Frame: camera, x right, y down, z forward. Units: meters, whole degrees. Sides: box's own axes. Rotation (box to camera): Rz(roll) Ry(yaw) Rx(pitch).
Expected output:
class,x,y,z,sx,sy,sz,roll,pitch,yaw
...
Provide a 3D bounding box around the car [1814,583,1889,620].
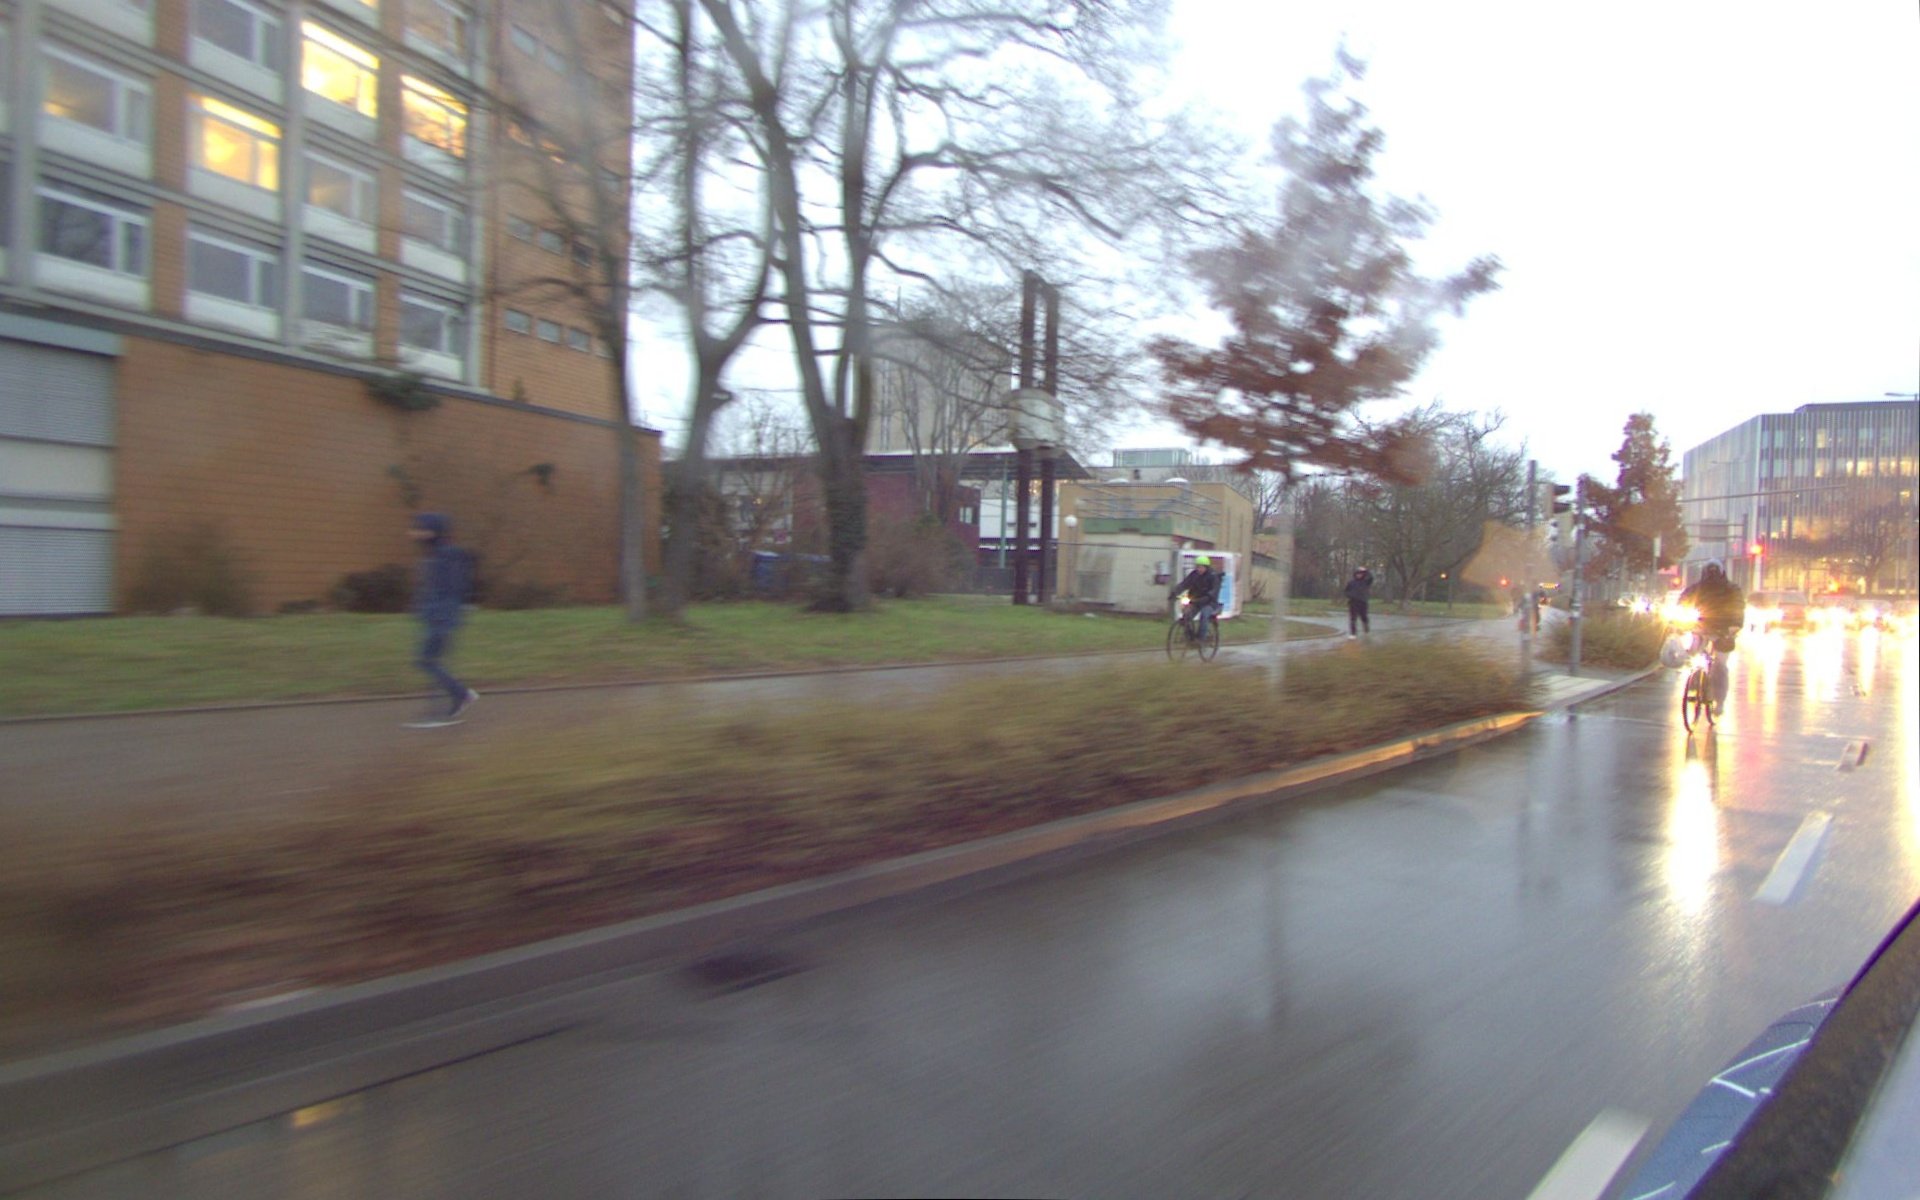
class,x,y,z,sx,sy,sz,roll,pitch,yaw
car,48.353,0.029,54.976,1.983,1.770,4.426,6,4,28

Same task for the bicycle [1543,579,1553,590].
class,x,y,z,sx,sy,sz,roll,pitch,yaw
bicycle,57.443,-1.551,98.844,0.788,1.028,2.873,2,2,29

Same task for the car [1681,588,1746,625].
class,x,y,z,sx,sy,sz,roll,pitch,yaw
car,34.953,0.258,47.069,1.759,1.505,4.426,3,2,29

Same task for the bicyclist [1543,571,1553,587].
class,x,y,z,sx,sy,sz,roll,pitch,yaw
bicyclist,57.477,-2.054,98.867,0.761,1.508,0.984,2,2,29

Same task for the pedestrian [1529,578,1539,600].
class,x,y,z,sx,sy,sz,roll,pitch,yaw
pedestrian,53.722,-1.068,94.689,0.759,2.038,0.766,2,2,28

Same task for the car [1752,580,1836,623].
class,x,y,z,sx,sy,sz,roll,pitch,yaw
car,37.811,0.017,46.004,1.983,1.771,4.896,3,2,29

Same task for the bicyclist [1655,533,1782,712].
class,x,y,z,sx,sy,sz,roll,pitch,yaw
bicyclist,8.671,0.233,11.559,1.024,1.907,1.216,0,0,44

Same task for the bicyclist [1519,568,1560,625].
class,x,y,z,sx,sy,sz,roll,pitch,yaw
bicyclist,17.575,-0.123,30.670,0.803,1.637,1.071,6,4,38

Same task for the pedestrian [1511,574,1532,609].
class,x,y,z,sx,sy,sz,roll,pitch,yaw
pedestrian,29.955,-0.461,53.989,0.925,1.848,0.826,3,2,29

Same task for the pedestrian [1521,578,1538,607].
class,x,y,z,sx,sy,sz,roll,pitch,yaw
pedestrian,37.540,-0.510,66.698,0.925,1.848,0.826,3,2,29

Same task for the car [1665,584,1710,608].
class,x,y,z,sx,sy,sz,roll,pitch,yaw
car,52.782,-0.317,73.502,1.983,1.586,4.714,4,3,29

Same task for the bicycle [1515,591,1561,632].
class,x,y,z,sx,sy,sz,roll,pitch,yaw
bicycle,17.513,0.328,30.630,0.803,1.155,2.183,6,4,38

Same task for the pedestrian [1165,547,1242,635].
class,x,y,z,sx,sy,sz,roll,pitch,yaw
pedestrian,3.889,-0.157,16.173,0.875,1.333,0.835,3,2,43

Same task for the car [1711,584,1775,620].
class,x,y,z,sx,sy,sz,roll,pitch,yaw
car,42.329,0.046,54.823,1.983,1.771,4.426,3,2,29

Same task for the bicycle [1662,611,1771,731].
class,x,y,z,sx,sy,sz,roll,pitch,yaw
bicycle,8.727,0.759,11.642,0.792,1.238,1.874,0,0,44

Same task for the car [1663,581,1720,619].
class,x,y,z,sx,sy,sz,roll,pitch,yaw
car,38.103,-0.017,52.804,1.984,1.860,3.957,2,2,30

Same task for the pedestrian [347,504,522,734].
class,x,y,z,sx,sy,sz,roll,pitch,yaw
pedestrian,-4.230,0.114,8.153,1.053,1.708,0.808,0,3,-44

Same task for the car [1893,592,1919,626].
class,x,y,z,sx,sy,sz,roll,pitch,yaw
car,41.520,0.406,42.806,1.915,1.393,4.454,3,2,29

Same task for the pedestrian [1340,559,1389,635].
class,x,y,z,sx,sy,sz,roll,pitch,yaw
pedestrian,9.645,-0.073,24.120,0.905,1.708,0.918,4,1,29

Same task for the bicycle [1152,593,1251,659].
class,x,y,z,sx,sy,sz,roll,pitch,yaw
bicycle,3.933,0.387,16.357,0.562,0.958,2.062,3,3,44

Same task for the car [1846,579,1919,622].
class,x,y,z,sx,sy,sz,roll,pitch,yaw
car,45.504,-0.009,49.564,1.985,1.769,4.426,10,6,28

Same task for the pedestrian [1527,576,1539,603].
class,x,y,z,sx,sy,sz,roll,pitch,yaw
pedestrian,44.970,-0.826,79.403,0.759,2.038,0.902,2,2,28
